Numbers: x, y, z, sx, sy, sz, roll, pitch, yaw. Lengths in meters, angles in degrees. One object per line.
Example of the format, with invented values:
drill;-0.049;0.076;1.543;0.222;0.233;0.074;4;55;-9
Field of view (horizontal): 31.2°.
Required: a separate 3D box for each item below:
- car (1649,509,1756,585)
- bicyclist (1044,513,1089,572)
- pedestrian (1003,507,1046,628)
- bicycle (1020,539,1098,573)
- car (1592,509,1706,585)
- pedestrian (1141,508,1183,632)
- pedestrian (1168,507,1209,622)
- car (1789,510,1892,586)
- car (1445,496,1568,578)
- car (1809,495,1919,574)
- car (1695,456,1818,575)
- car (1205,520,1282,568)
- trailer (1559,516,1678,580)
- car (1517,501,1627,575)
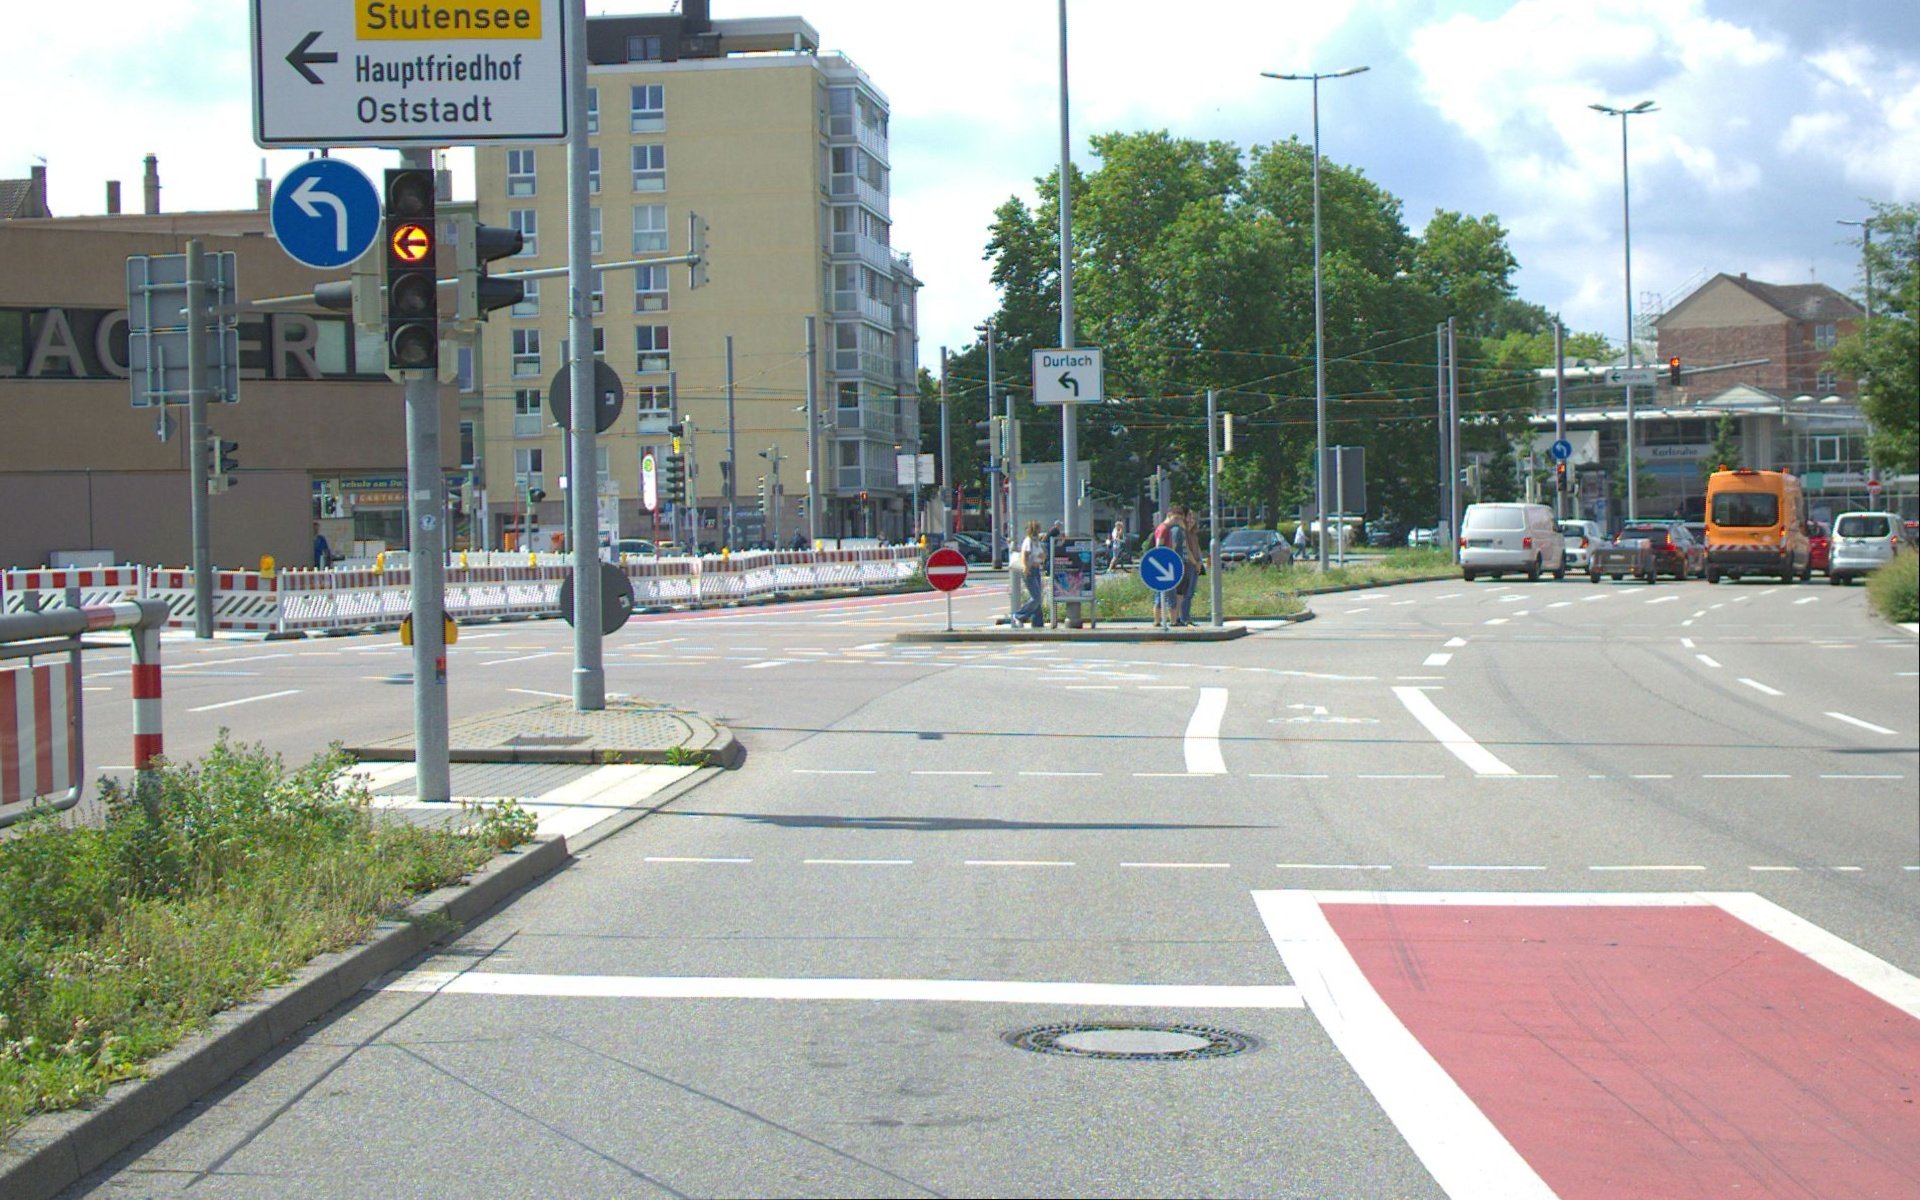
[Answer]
car;20.223;-1.460;93.531;1.994;1.932;4.633;-1;1;23
bicyclist;3.471;-1.869;112.254;1.220;1.903;0.857;-1;1;19
pedestrian;0.933;-0.477;49.902;0.525;1.727;0.623;-1;1;8
bicycle;3.229;-1.448;112.349;2.381;1.063;0.857;-1;1;19
car;17.611;-1.370;87.746;1.996;1.820;3.995;-1;1;24
pedestrian;2.850;-0.422;48.484;0.525;1.727;0.623;-1;1;8
pedestrian;3.368;-0.531;50.702;0.525;1.678;0.623;-1;1;8
car;23.714;-1.431;92.498;1.994;1.932;4.633;-1;1;23
car;13.833;-1.615;86.845;2.008;1.960;4.633;-1;1;23
car;21.753;-1.585;82.390;1.996;1.788;3.995;-1;1;24
car;19.574;-2.081;84.377;2.132;2.771;4.633;-1;1;23
car;8.407;-1.678;101.794;1.793;1.383;4.225;0;1;11
trailer;16.229;-1.297;84.573;1.996;1.472;3.995;-1;1;24
car;16.879;-1.736;94.629;1.994;1.932;4.633;-1;1;23
